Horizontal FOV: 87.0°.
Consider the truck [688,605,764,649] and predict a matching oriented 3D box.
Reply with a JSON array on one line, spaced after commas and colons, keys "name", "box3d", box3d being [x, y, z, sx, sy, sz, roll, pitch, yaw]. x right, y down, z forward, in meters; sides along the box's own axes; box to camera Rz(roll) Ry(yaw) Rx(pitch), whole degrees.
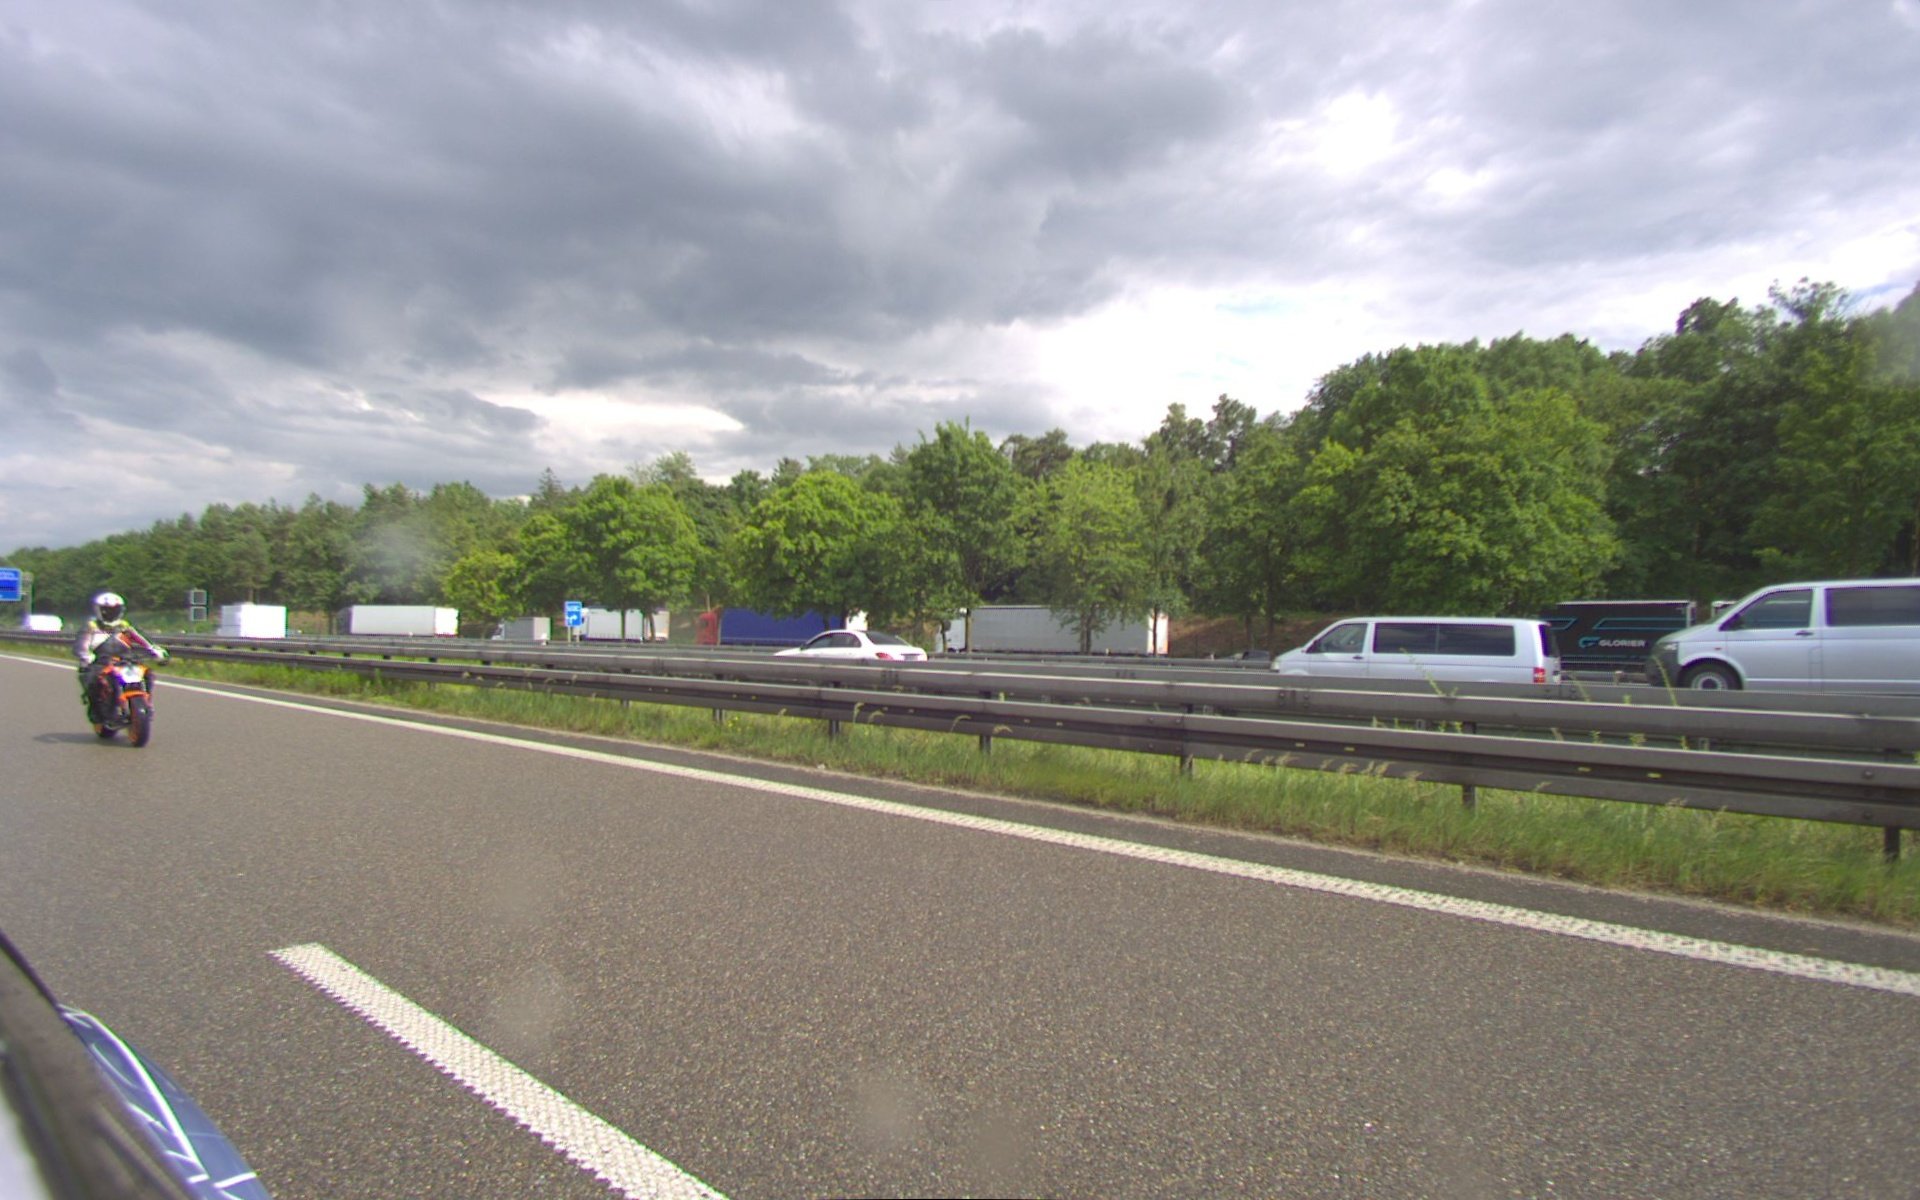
[{"name": "truck", "box3d": [-19.297, 2.178, 83.260, 5.880, 3.482, 2.837, -1, 0, 33]}]

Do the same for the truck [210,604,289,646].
[{"name": "truck", "box3d": [-48.910, 1.642, 69.582, 7.188, 2.702, 2.813, -1, 0, 41]}]

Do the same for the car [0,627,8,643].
[{"name": "car", "box3d": [-117.595, 4.288, 123.256, 4.776, 1.905, 1.811, -1, 0, 40]}]

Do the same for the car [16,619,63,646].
[{"name": "car", "box3d": [-69.347, 2.408, 76.206, 5.256, 1.905, 2.025, -1, 0, 40]}]

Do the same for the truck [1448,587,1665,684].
[{"name": "truck", "box3d": [28.378, 1.573, 48.398, 8.414, 4.266, 3.748, -1, 0, 41]}]

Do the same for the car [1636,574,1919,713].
[{"name": "car", "box3d": [13.324, 0.593, 15.033, 5.256, 1.905, 2.025, -1, 0, 40]}]

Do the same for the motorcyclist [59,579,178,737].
[{"name": "motorcyclist", "box3d": [-9.731, 0.636, 11.701, 0.999, 1.719, 0.872, -1, 0, 38]}]

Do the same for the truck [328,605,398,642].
[{"name": "truck", "box3d": [-63.386, 2.448, 107.435, 6.880, 3.732, 3.189, -1, 0, 26]}]

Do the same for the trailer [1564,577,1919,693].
[{"name": "trailer", "box3d": [34.154, 1.449, 43.321, 13.796, 4.439, 3.748, -1, -2, 42]}]

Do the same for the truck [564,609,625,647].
[{"name": "truck", "box3d": [-33.076, 2.469, 91.564, 5.067, 3.292, 2.635, -1, 0, 30]}]

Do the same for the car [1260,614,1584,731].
[{"name": "car", "box3d": [8.628, 1.233, 19.221, 5.256, 1.905, 2.025, -1, 0, 40]}]

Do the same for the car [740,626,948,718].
[{"name": "car", "box3d": [-2.922, 1.633, 24.647, 5.256, 1.905, 2.025, -1, 0, 40]}]

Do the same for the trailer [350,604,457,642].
[{"name": "trailer", "box3d": [-57.523, 2.413, 104.502, 12.505, 3.767, 3.185, -1, -2, 27]}]

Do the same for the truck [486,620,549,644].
[{"name": "truck", "box3d": [-42.562, 3.063, 97.247, 6.288, 2.282, 2.105, -1, -1, 28]}]

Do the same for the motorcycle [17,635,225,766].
[{"name": "motorcycle", "box3d": [-9.712, 1.066, 11.649, 3.190, 1.235, 1.173, -1, 0, 38]}]

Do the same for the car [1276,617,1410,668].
[{"name": "car", "box3d": [20.617, 2.218, 54.590, 6.208, 2.501, 2.764, -1, 0, 41]}]

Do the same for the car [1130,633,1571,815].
[{"name": "car", "box3d": [5.125, 1.463, 13.821, 5.256, 1.905, 2.025, -1, 0, 40]}]

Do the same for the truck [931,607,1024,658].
[{"name": "truck", "box3d": [1.167, 2.168, 69.627, 5.498, 3.298, 3.322, -1, 0, 37]}]

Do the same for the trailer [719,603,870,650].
[{"name": "trailer", "box3d": [-13.105, 2.078, 79.083, 13.389, 3.431, 2.800, -1, -2, 34]}]

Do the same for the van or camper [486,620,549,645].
[{"name": "van or camper", "box3d": [-42.512, 3.062, 97.150, 6.293, 2.282, 2.105, -1, -1, 28]}]

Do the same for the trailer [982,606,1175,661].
[{"name": "trailer", "box3d": [7.310, 2.118, 64.740, 12.459, 3.241, 3.315, -1, -2, 39]}]

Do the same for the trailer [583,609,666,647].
[{"name": "trailer", "box3d": [-29.779, 2.428, 89.681, 7.713, 3.257, 2.560, -1, -2, 31]}]
